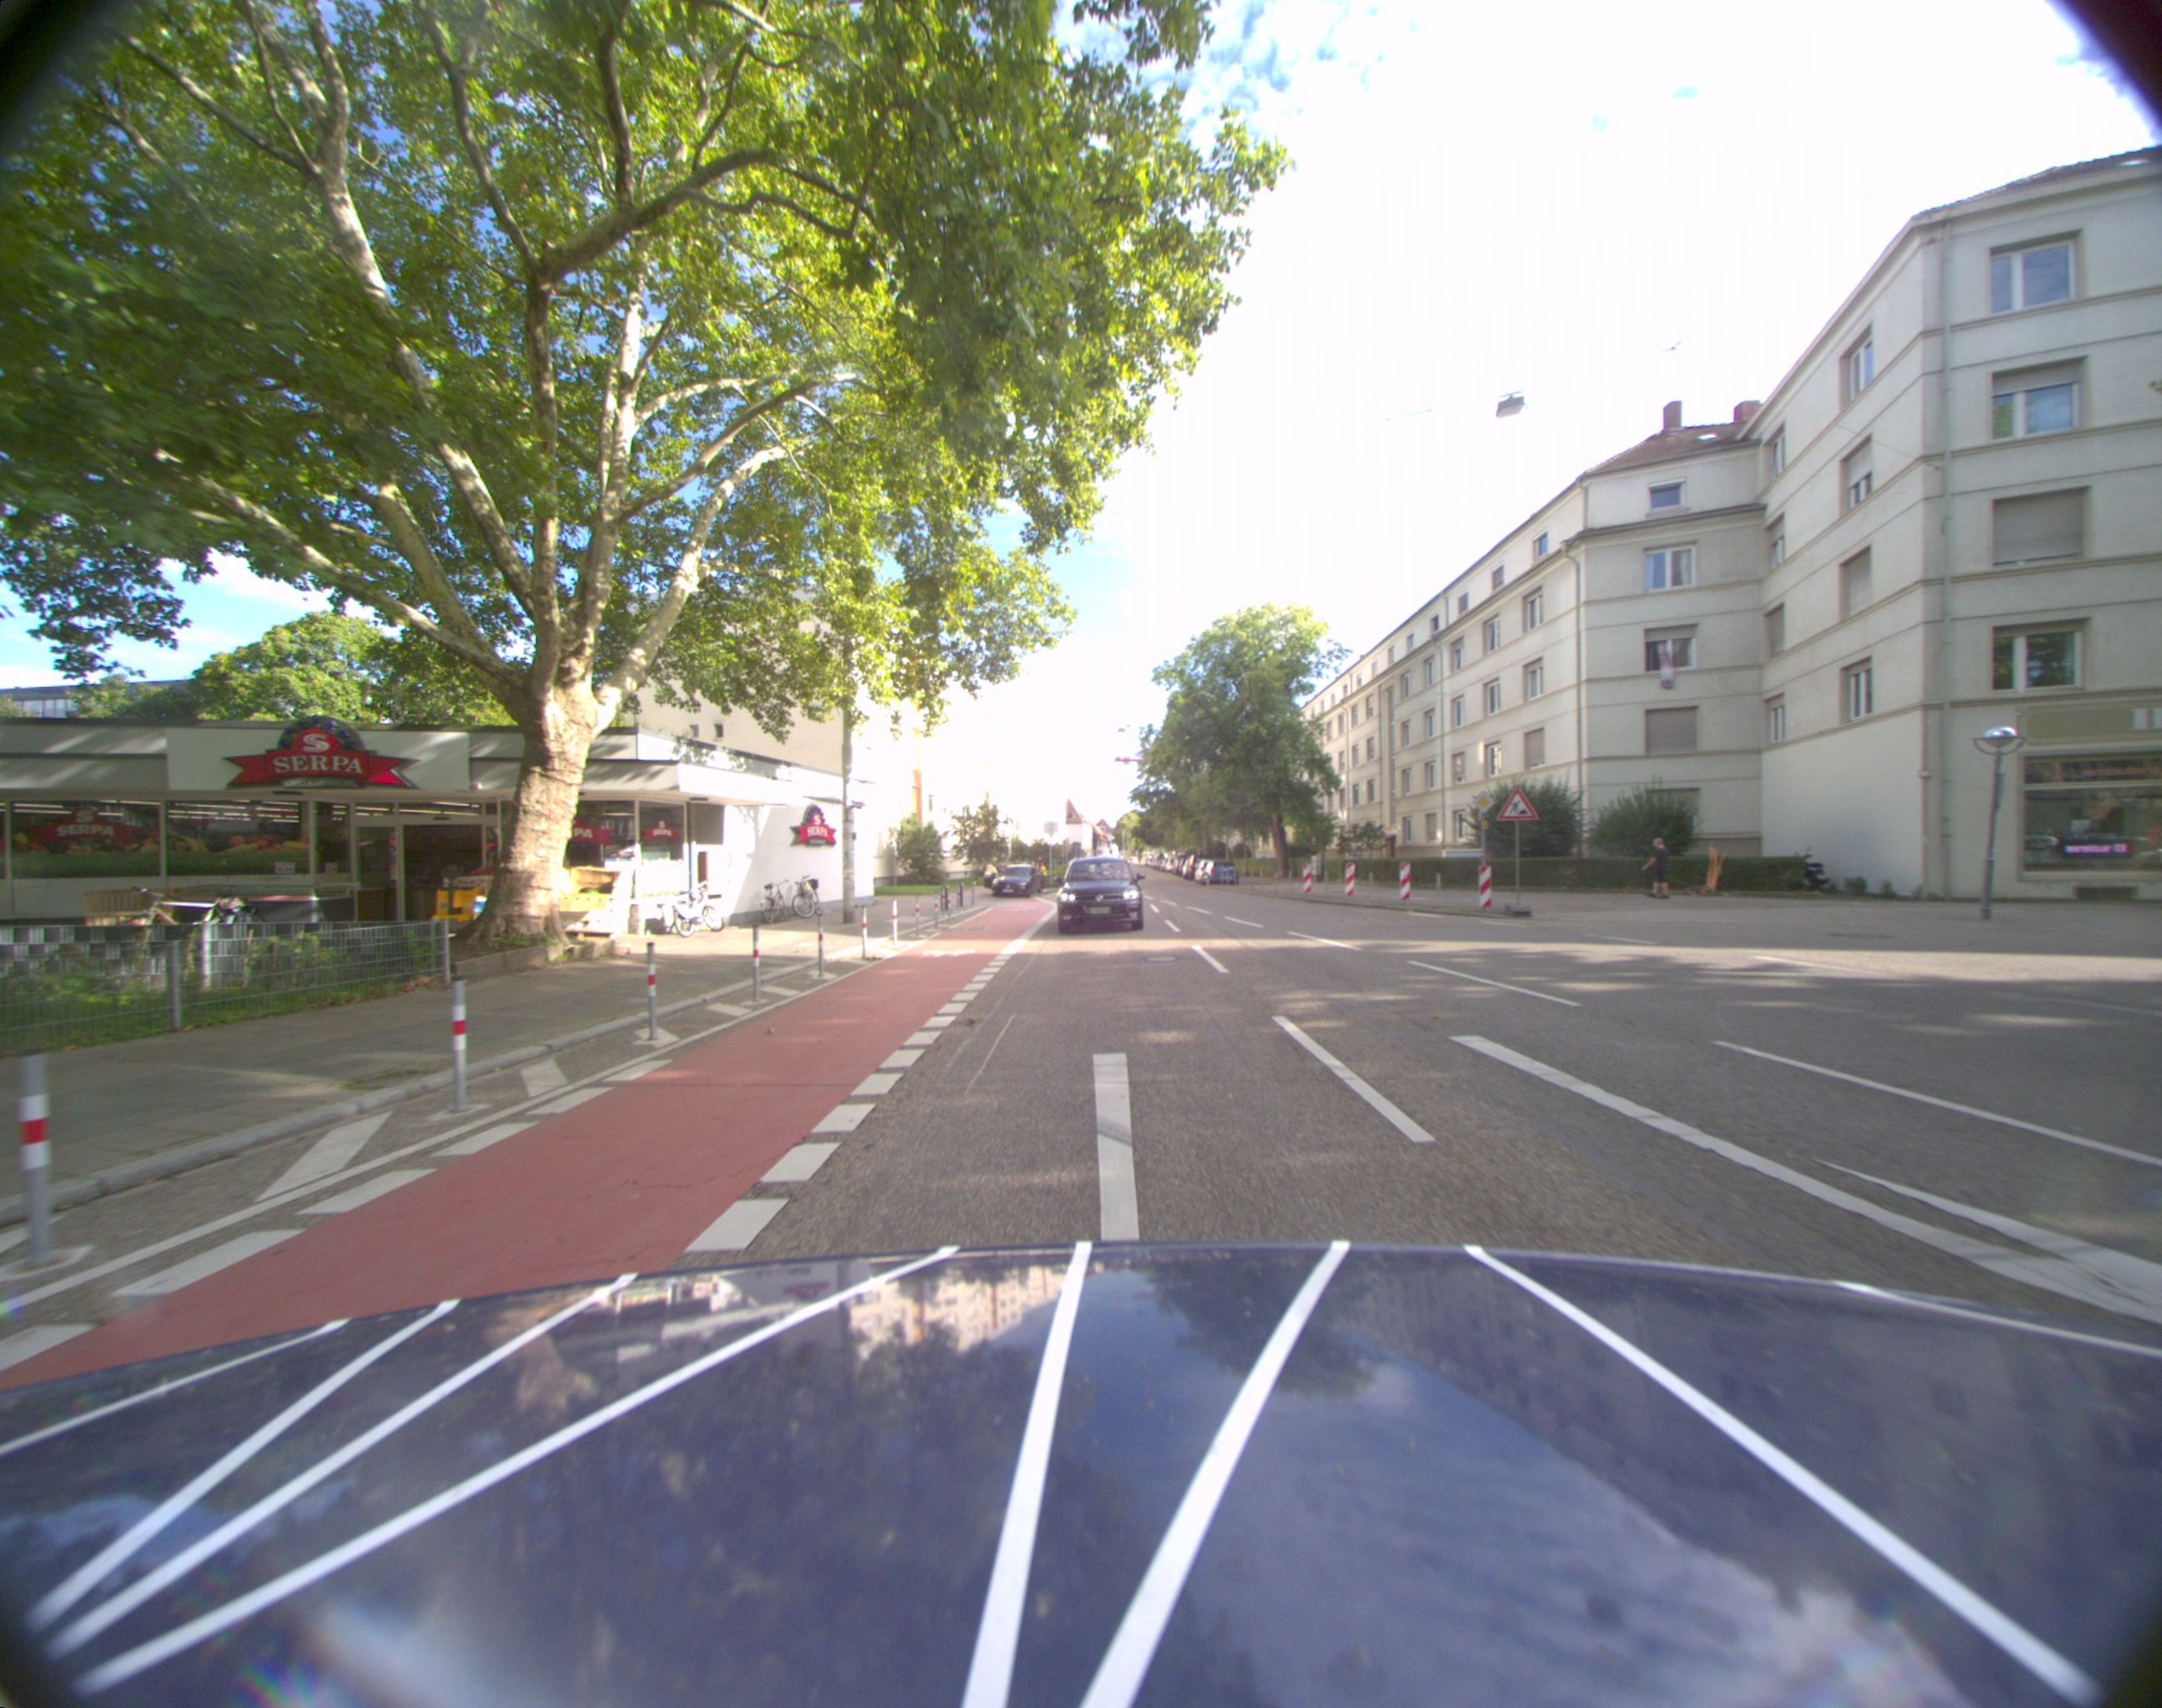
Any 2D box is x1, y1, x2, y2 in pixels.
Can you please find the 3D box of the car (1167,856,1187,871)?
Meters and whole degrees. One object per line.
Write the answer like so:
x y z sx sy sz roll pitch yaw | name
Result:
10.214 1.003 81.349 1.743 1.610 3.995 -1 0 2 | car

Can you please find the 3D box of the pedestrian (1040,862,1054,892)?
-1.776 1.172 39.445 0.654 1.529 0.743 0 0 3 | pedestrian

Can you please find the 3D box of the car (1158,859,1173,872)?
10.769 1.461 96.878 1.688 1.472 4.453 2 0 6 | car

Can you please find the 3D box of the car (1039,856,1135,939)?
0.262 0.913 17.780 1.859 1.673 4.002 -2 0 5 | car

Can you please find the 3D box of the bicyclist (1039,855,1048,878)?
-2.844 0.944 57.607 0.625 1.668 0.893 -1 0 3 | bicyclist

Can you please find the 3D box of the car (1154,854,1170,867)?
11.404 0.885 107.249 1.881 1.782 4.971 1 0 2 | car

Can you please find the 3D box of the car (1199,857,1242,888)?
7.898 1.027 43.383 1.803 1.610 3.803 1 0 2 | car

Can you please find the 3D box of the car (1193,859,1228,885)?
8.162 1.101 48.099 1.803 1.485 3.804 1 0 4 | car

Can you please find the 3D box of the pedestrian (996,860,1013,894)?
-3.714 1.112 36.754 0.654 1.635 0.743 -2 0 3 | pedestrian

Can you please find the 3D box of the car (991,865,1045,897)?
-2.973 1.261 36.541 1.764 1.403 4.235 0 0 7 | car

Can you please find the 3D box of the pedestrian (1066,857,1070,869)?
-1.836 1.237 107.903 0.543 1.711 0.772 -1 0 9 | pedestrian

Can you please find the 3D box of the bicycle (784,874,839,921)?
-7.777 1.223 22.020 0.770 1.199 1.816 2 1 6 | bicycle

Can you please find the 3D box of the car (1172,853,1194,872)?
9.708 0.782 72.534 1.803 1.658 4.484 1 0 4 | car

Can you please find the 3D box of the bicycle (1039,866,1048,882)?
-2.834 1.498 57.811 0.525 1.128 1.930 -1 0 3 | bicycle

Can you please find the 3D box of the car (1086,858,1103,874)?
1.412 1.273 79.074 1.732 1.571 4.118 -1 0 2 | car

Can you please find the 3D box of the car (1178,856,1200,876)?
8.956 0.979 63.092 1.556 1.511 3.017 1 0 4 | car

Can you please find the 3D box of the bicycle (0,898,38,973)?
-15.965 1.201 10.546 0.693 1.065 1.854 0 0 -13 | bicycle

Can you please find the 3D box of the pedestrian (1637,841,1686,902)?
15.468 0.459 20.248 0.734 1.569 0.732 -1 0 -1 | pedestrian

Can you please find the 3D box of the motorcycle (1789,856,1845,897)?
21.672 0.642 22.404 0.545 1.156 1.879 -1 0 23 | motorcycle

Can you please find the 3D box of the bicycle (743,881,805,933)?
-8.053 1.357 20.011 0.712 1.199 1.771 2 1 6 | bicycle

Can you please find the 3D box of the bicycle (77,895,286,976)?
-13.236 1.167 11.252 0.747 1.032 1.860 -6 -4 25 | bicycle

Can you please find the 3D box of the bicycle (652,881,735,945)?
-8.348 1.238 16.453 0.713 1.199 1.816 2 1 5 | bicycle

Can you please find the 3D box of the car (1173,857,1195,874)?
9.087 0.997 67.239 1.704 1.478 3.849 1 0 4 | car

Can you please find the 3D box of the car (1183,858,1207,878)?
8.761 1.029 58.706 1.698 1.484 4.334 0 0 7 | car

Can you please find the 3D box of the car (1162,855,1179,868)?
10.112 0.855 85.781 1.618 1.459 4.014 0 0 3 | car

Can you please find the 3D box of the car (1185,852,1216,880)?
8.384 0.846 53.561 1.727 1.871 4.192 1 0 3 | car
